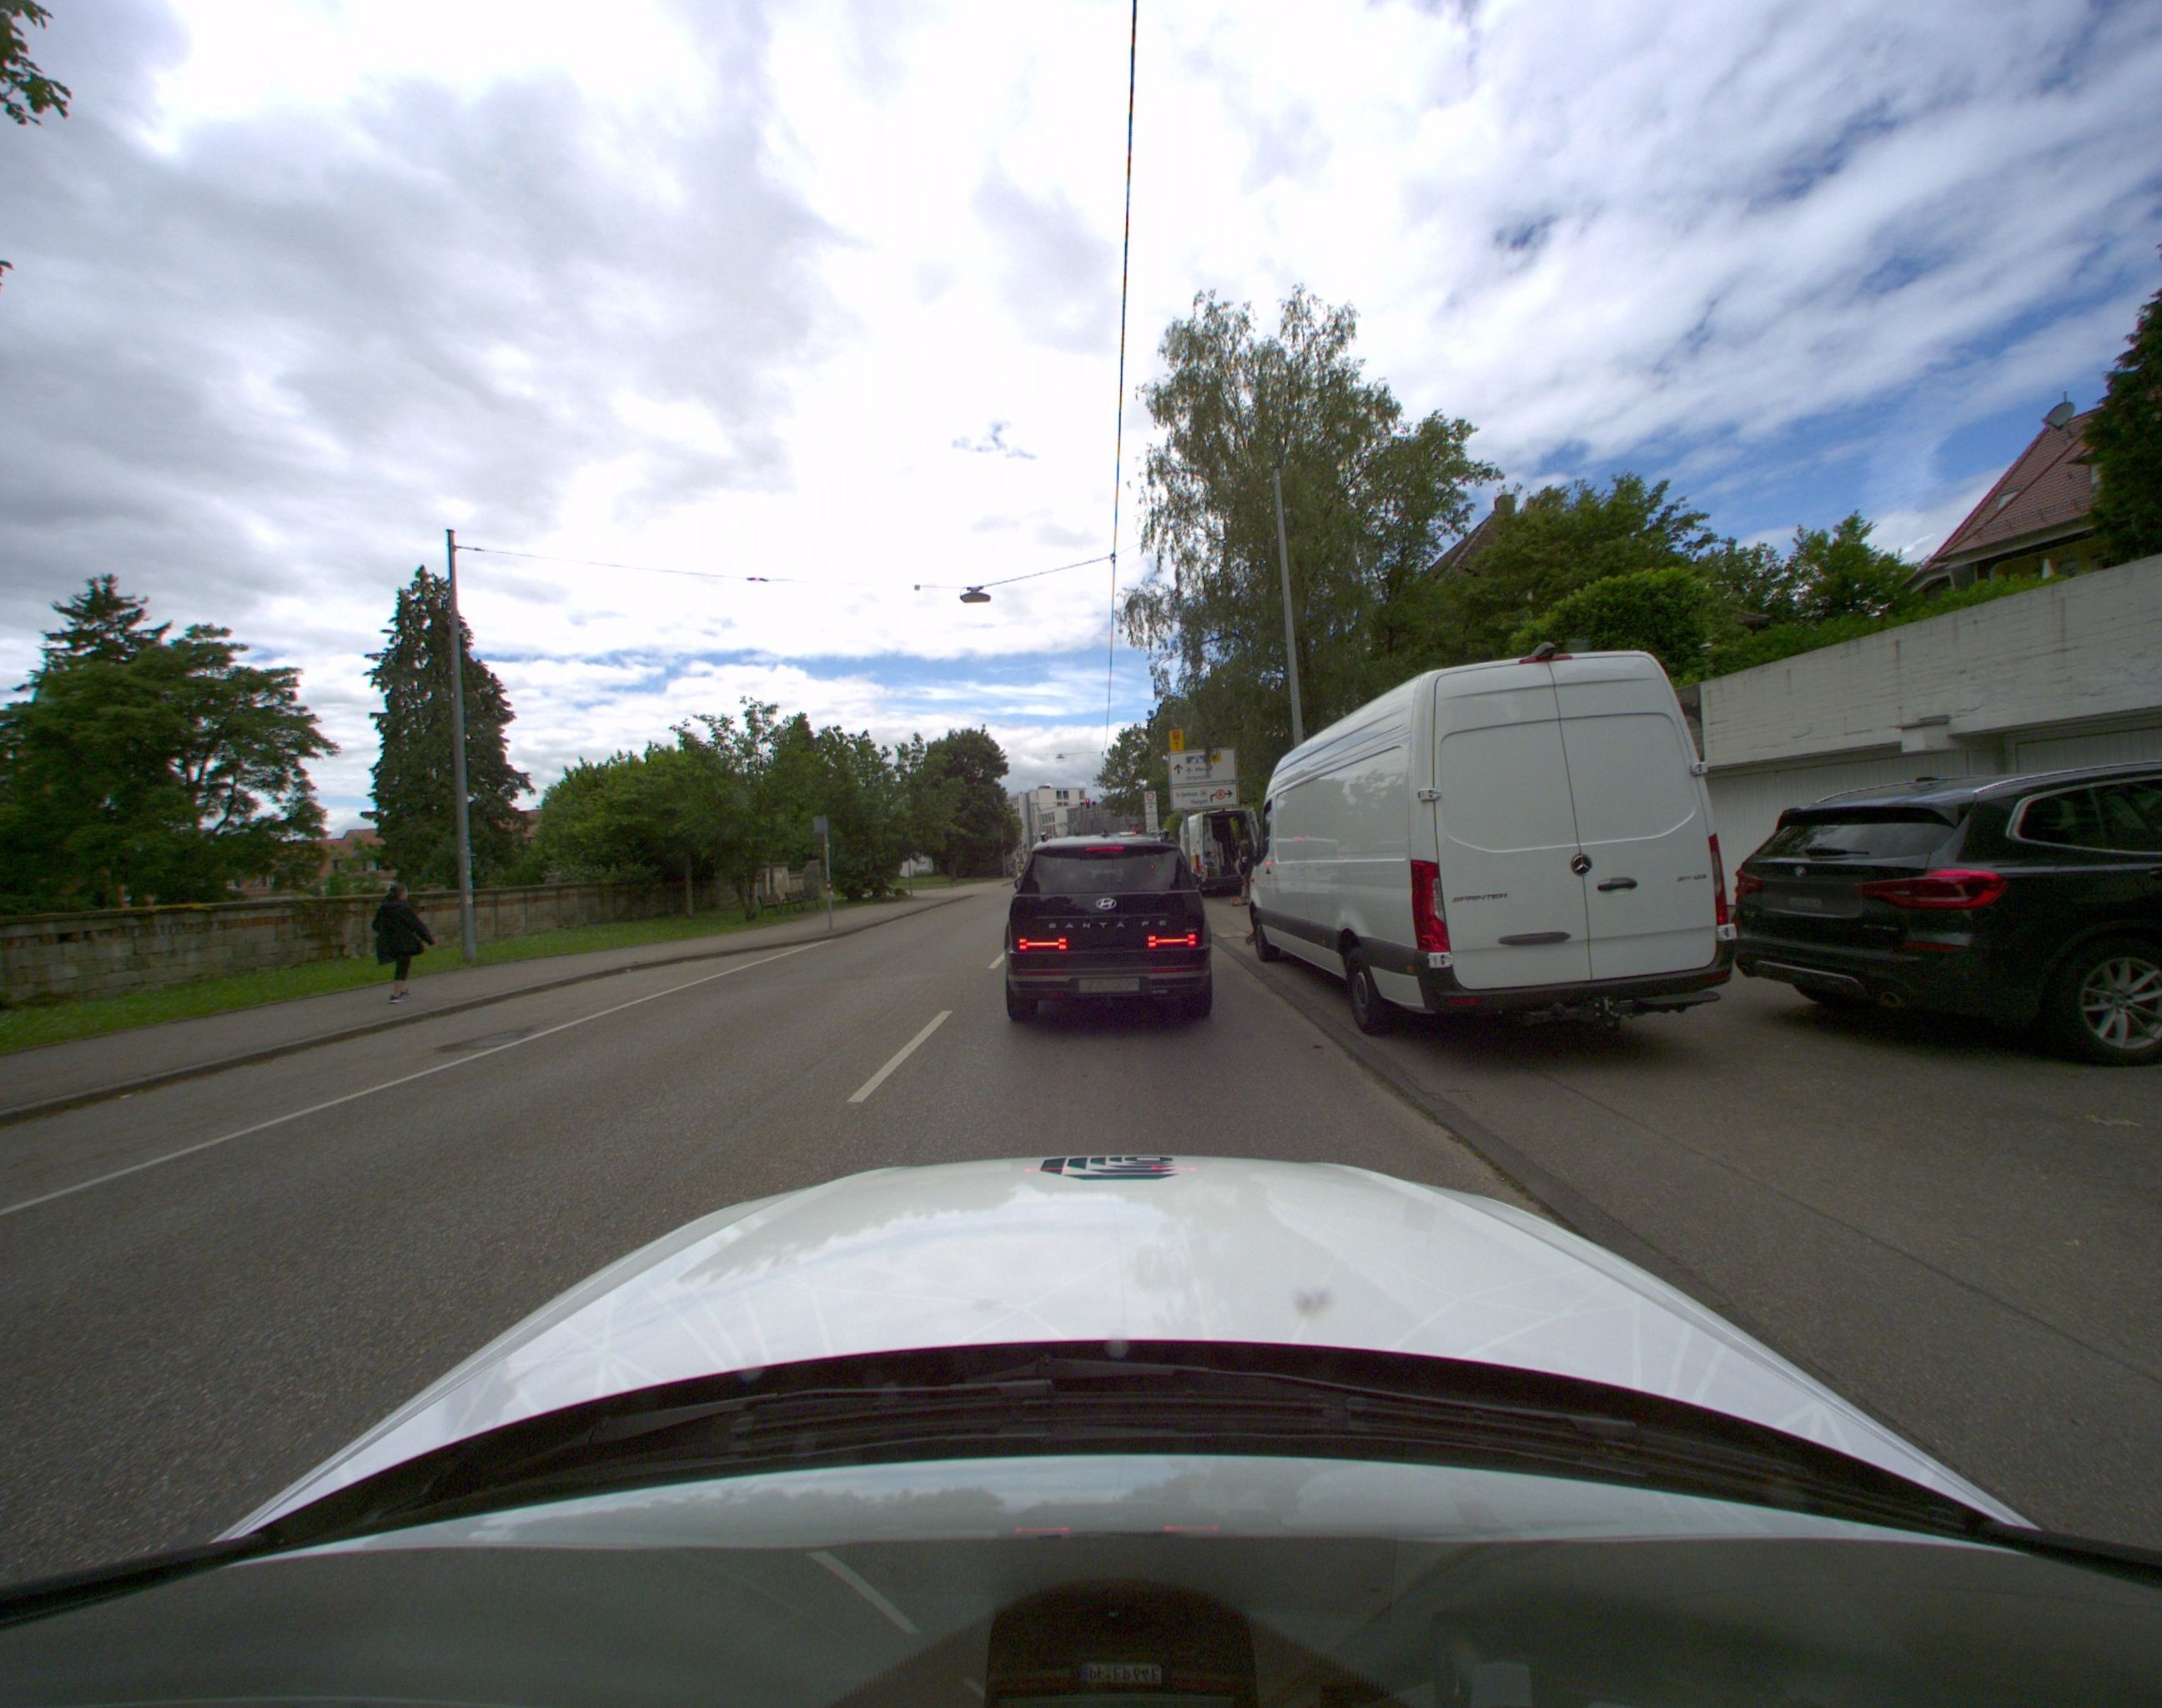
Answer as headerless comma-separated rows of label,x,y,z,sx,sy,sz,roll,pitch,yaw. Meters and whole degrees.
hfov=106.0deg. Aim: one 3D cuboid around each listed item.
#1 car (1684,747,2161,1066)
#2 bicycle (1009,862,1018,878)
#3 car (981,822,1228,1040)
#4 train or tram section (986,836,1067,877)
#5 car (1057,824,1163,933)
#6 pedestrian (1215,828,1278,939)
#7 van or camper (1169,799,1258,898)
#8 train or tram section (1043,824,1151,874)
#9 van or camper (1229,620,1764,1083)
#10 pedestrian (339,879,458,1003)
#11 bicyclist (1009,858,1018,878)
car,6.846,0.177,5.287,4.376,1.652,1.831,-4,0,2
bicycle,-5.835,1.393,70.303,0.674,1.279,2.494,-2,-2,-7
car,0.231,0.632,8.663,1.957,1.711,4.001,-2,0,1
train or tram section,-7.415,0.533,105.562,3.211,4.523,18.513,-1,-2,-28
car,0.590,0.469,17.603,1.957,2.001,4.001,-2,0,1
pedestrian,2.744,0.487,13.527,0.621,1.743,0.600,-6,-1,-29
van or camper,4.243,-0.168,26.930,1.957,2.797,5.288,-5,0,1
train or tram section,1.247,-0.276,89.136,3.211,4.523,18.513,-1,-2,-28
van or camper,3.090,-0.017,8.114,1.957,2.627,6.359,-6,0,1
pedestrian,-9.461,1.178,11.327,0.746,1.578,0.967,-3,0,1
bicyclist,-5.840,1.213,70.339,0.674,1.659,0.856,-2,-2,-8
